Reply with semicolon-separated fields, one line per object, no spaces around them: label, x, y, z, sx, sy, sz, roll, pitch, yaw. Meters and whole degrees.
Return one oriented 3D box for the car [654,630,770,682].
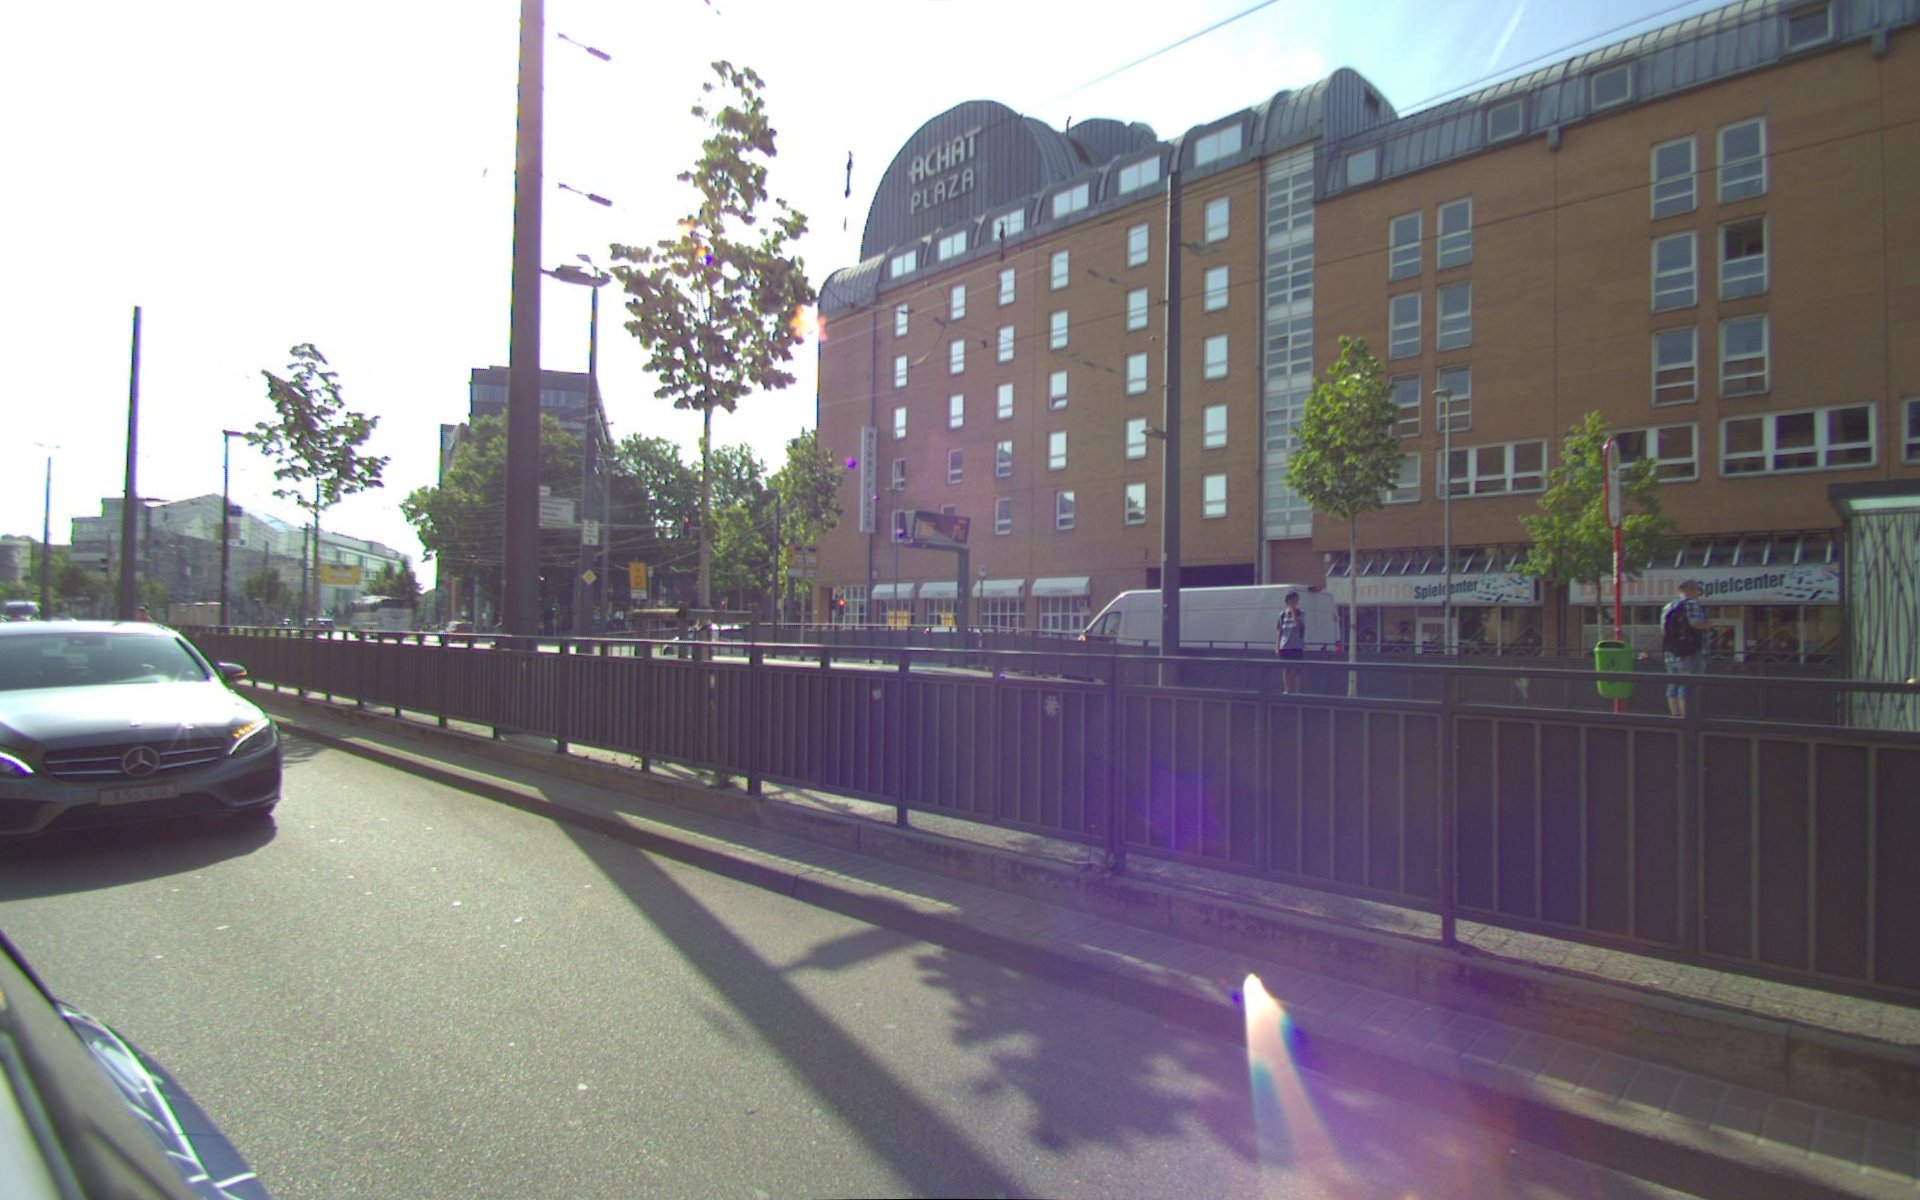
car;-8.498;1.868;34.526;4.026;1.630;1.971;-1;-3;44

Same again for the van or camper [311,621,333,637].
van or camper;-73.772;3.344;117.009;1.897;1.714;4.010;3;-3;-35

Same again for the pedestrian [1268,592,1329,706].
pedestrian;5.483;0.770;16.395;0.643;1.774;0.699;-1;0;-44

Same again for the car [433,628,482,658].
car;-35.277;3.003;71.070;1.970;2.029;4.004;3;-3;-43

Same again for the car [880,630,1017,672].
car;-0.334;1.300;26.091;1.527;0.978;3.490;3;-3;-45

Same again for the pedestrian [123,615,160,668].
pedestrian;-25.858;1.321;31.968;0.640;1.646;0.579;1;-2;11

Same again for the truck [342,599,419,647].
truck;-50.040;1.984;87.115;3.122;3.805;12.375;3;-3;-42

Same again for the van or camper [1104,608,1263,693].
van or camper;7.948;1.754;36.378;1.970;2.823;5.356;3;-3;-45

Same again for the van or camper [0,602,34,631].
van or camper;-75.949;1.309;81.048;1.902;2.228;3.998;2;-2;-32

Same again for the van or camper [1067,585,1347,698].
van or camper;4.955;0.832;20.910;5.344;2.029;2.058;-1;-3;45

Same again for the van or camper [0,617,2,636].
van or camper;-68.779;1.837;70.706;1.902;1.323;3.998;2;-2;-32

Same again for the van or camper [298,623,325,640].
van or camper;-63.181;3.029;98.591;1.816;1.564;4.008;3;-3;-38

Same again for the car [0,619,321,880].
car;-6.420;0.855;7.419;4.235;1.403;1.881;-1;-1;42

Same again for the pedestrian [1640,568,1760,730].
pedestrian;8.464;0.559;11.616;0.825;1.759;0.783;2;-3;9

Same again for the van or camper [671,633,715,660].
van or camper;-16.051;2.759;61.023;1.899;1.549;4.004;1;-2;-5
